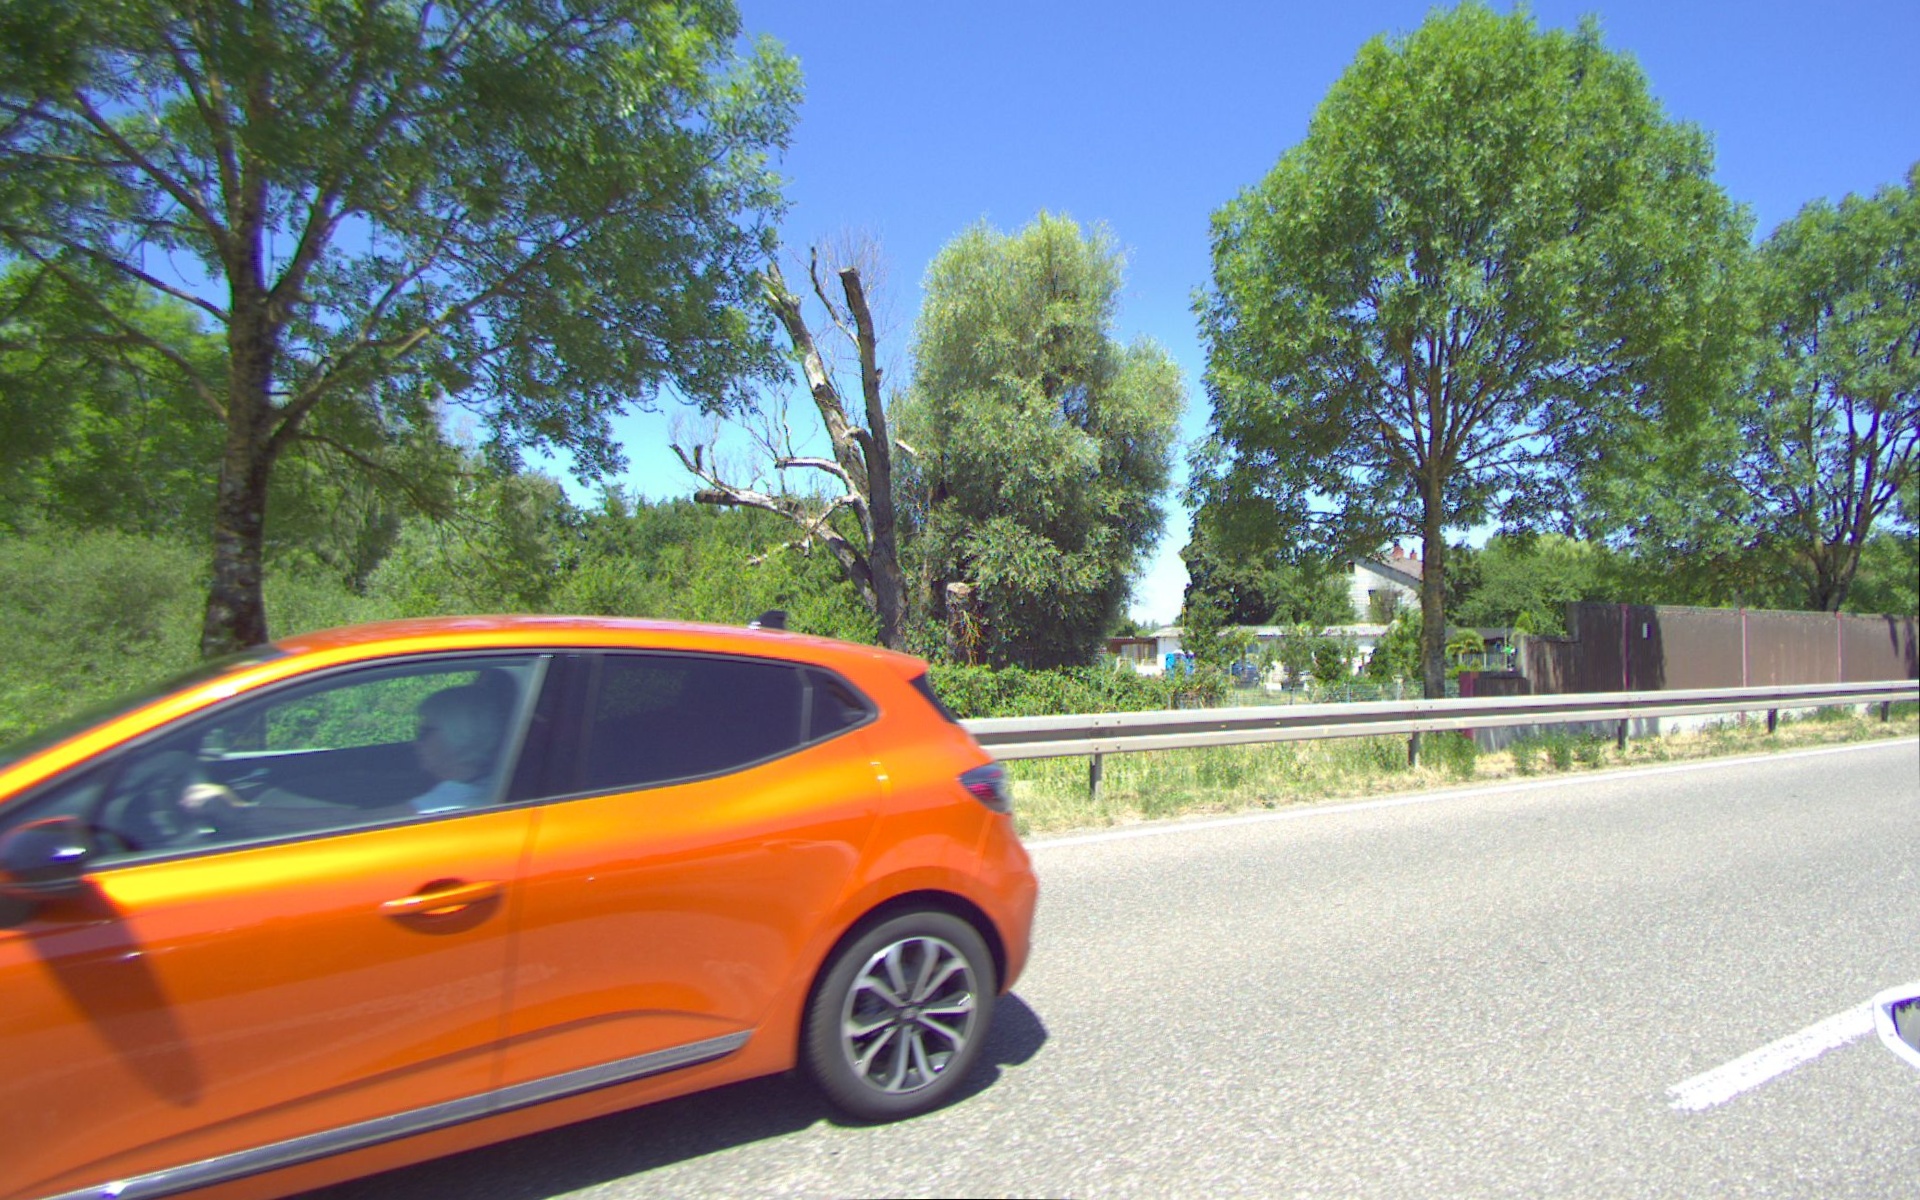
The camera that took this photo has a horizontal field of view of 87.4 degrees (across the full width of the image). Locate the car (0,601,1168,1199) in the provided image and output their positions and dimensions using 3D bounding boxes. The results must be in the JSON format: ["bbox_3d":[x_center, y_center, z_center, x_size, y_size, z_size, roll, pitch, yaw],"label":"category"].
[{"bbox_3d":[-1.434,0.752,3.088,3.956,1.440,1.779,2,-1,-32],"label":"car"}]
